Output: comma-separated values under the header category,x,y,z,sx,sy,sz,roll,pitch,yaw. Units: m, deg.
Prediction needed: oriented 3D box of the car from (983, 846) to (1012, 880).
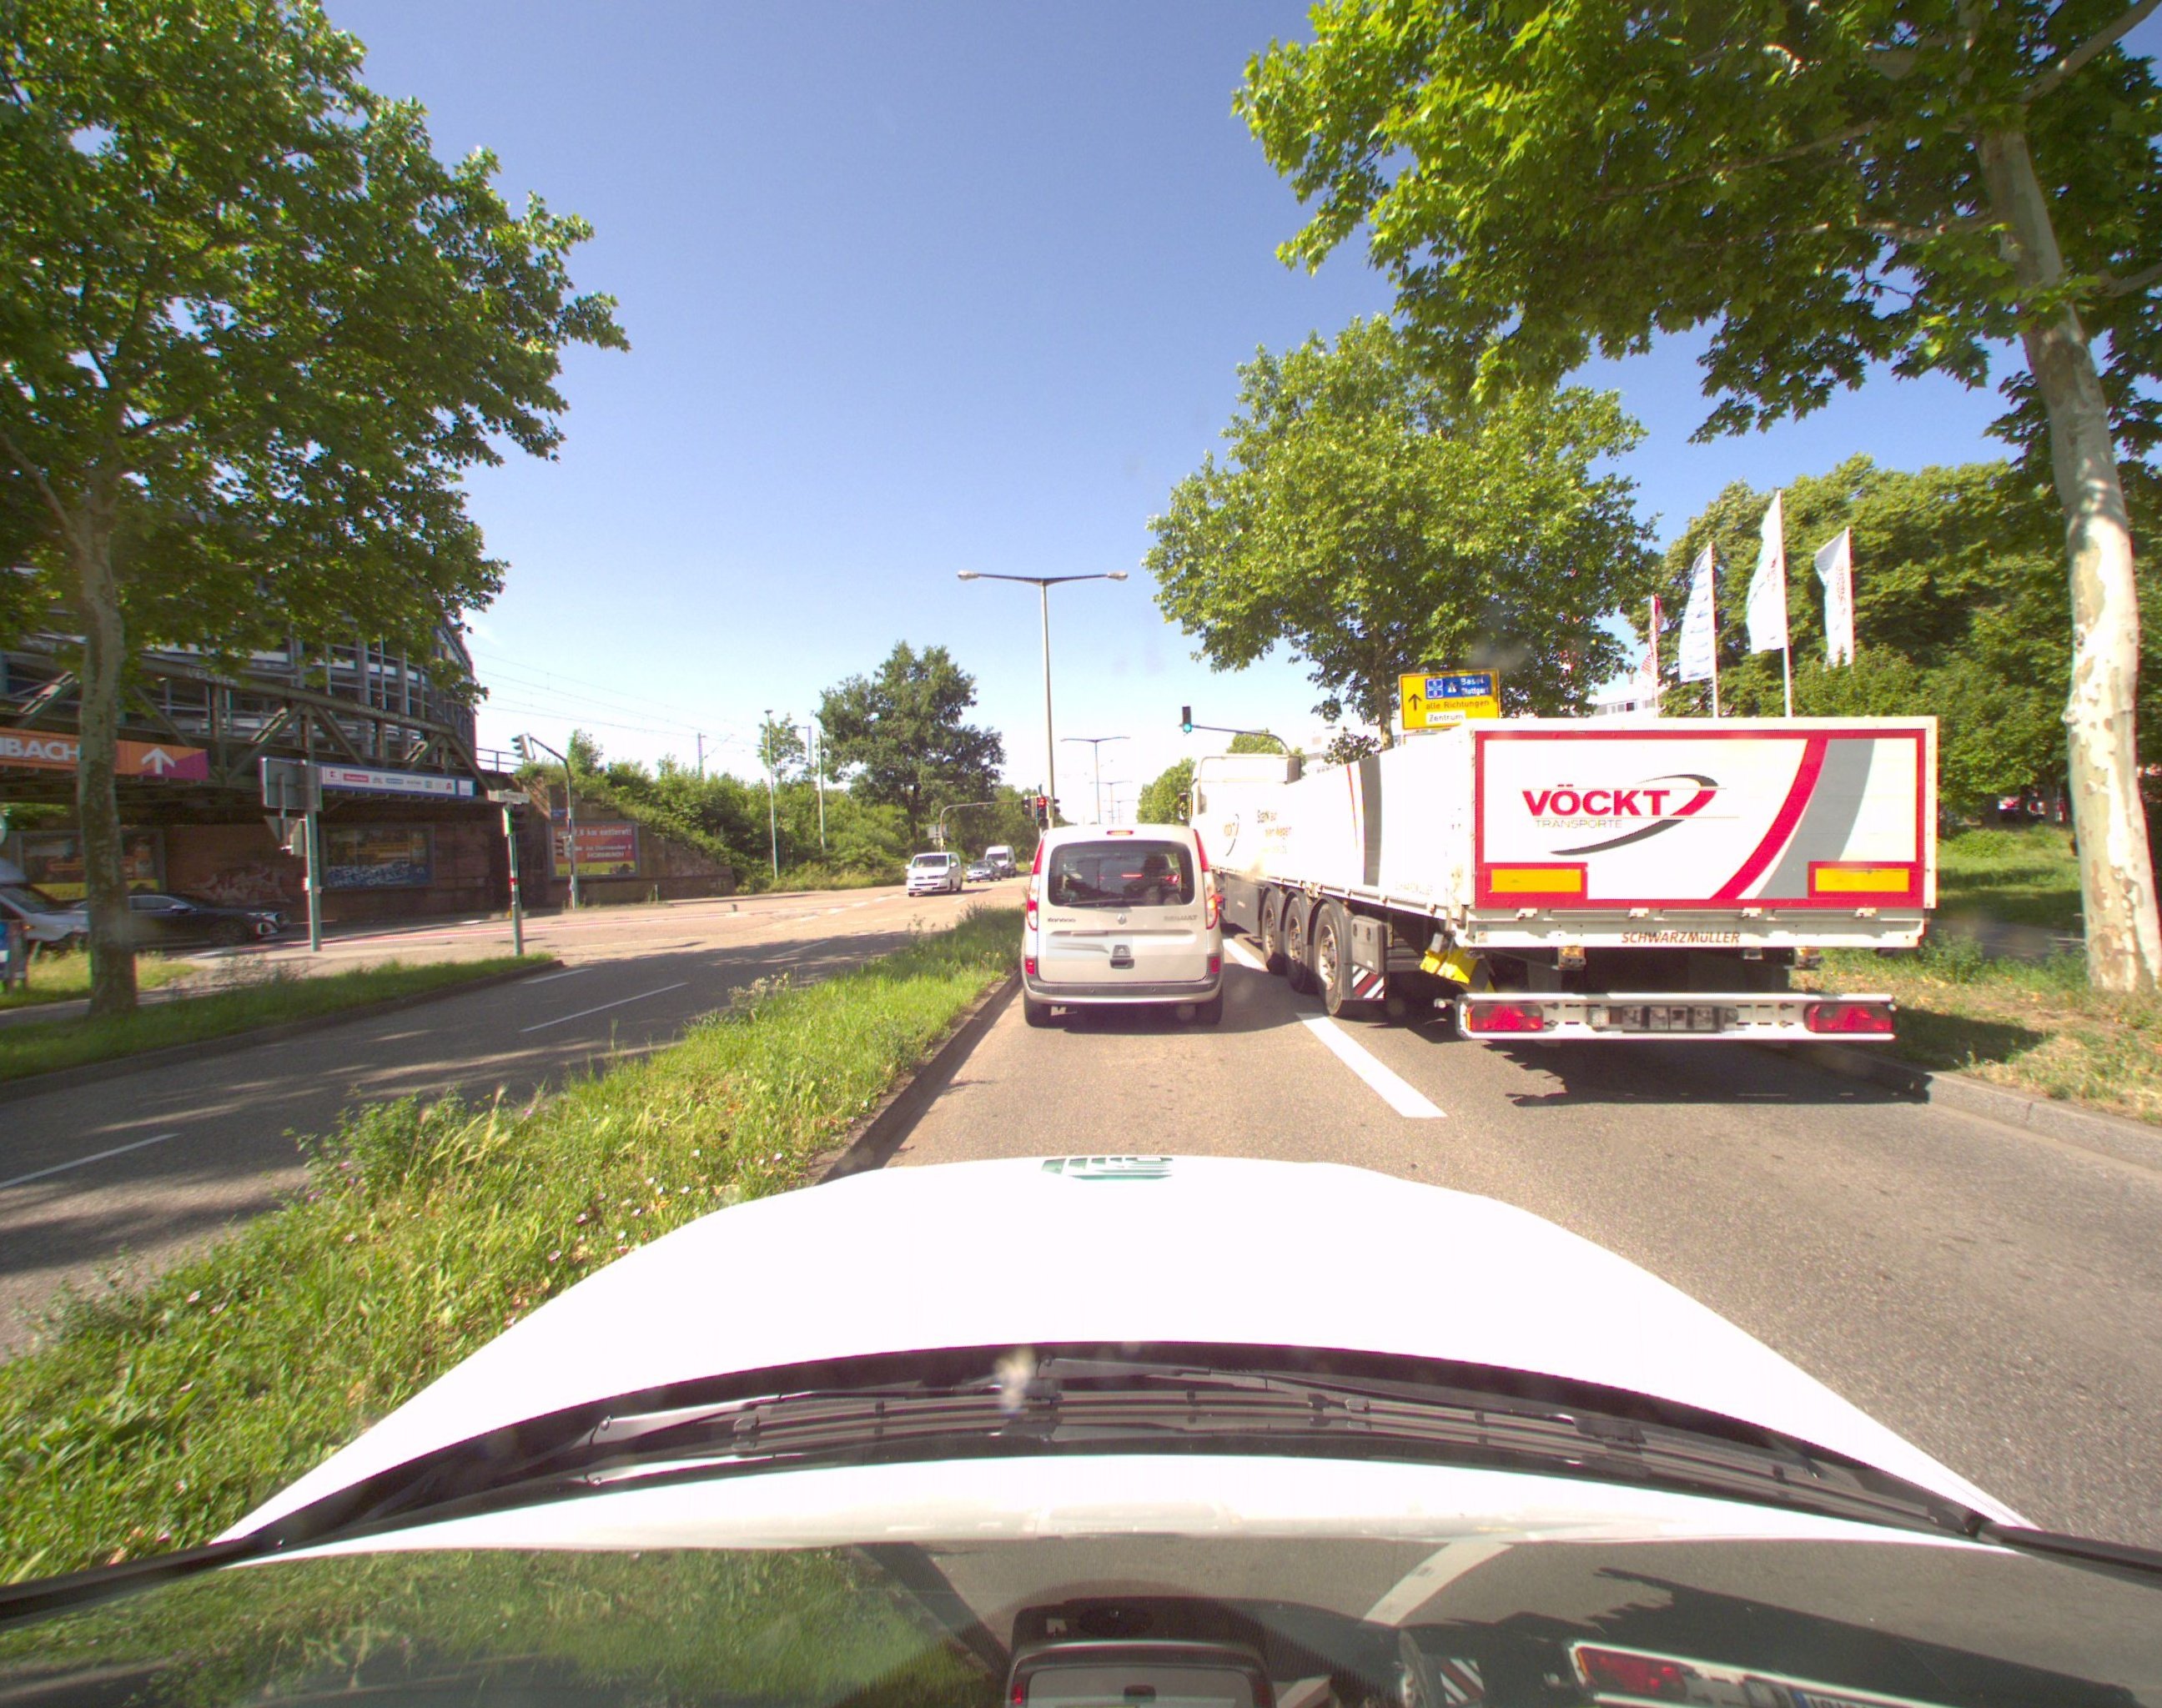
category,x,y,z,sx,sy,sz,roll,pitch,yaw
car,-6.782,0.725,66.524,2.054,2.614,5.862,-1,0,-3

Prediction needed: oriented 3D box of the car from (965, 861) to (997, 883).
category,x,y,z,sx,sy,sz,roll,pitch,yaw
car,-6.761,1.192,54.729,1.911,1.409,4.212,-1,0,-10

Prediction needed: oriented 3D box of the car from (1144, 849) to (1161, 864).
category,x,y,z,sx,sy,sz,roll,pitch,yaw
car,9.786,0.386,111.872,1.986,2.014,4.001,-1,0,2

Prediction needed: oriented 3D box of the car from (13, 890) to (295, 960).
category,x,y,z,sx,sy,sz,roll,pitch,yaw
car,-26.044,1.924,23.193,5.074,1.596,1.510,-1,-1,-35

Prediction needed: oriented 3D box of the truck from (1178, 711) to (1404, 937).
category,x,y,z,sx,sy,sz,roll,pitch,yaw
truck,3.986,-0.489,17.462,3.060,3.758,7.479,-1,0,2

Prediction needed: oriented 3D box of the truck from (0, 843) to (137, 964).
category,x,y,z,sx,sy,sz,roll,pitch,yaw
truck,-26.253,1.152,18.180,6.431,2.712,1.979,-1,-1,-34

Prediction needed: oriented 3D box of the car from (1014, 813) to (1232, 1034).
category,x,y,z,sx,sy,sz,roll,pitch,yaw
car,0.419,0.578,8.618,1.742,1.772,3.951,-1,0,2

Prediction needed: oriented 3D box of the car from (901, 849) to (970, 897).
category,x,y,z,sx,sy,sz,roll,pitch,yaw
car,-6.522,0.833,37.102,1.986,1.891,4.989,-4,0,2

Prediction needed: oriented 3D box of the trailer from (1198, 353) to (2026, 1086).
category,x,y,z,sx,sy,sz,roll,pitch,yaw
trailer,3.607,-0.659,10.353,3.004,3.740,12.248,-1,0,3
